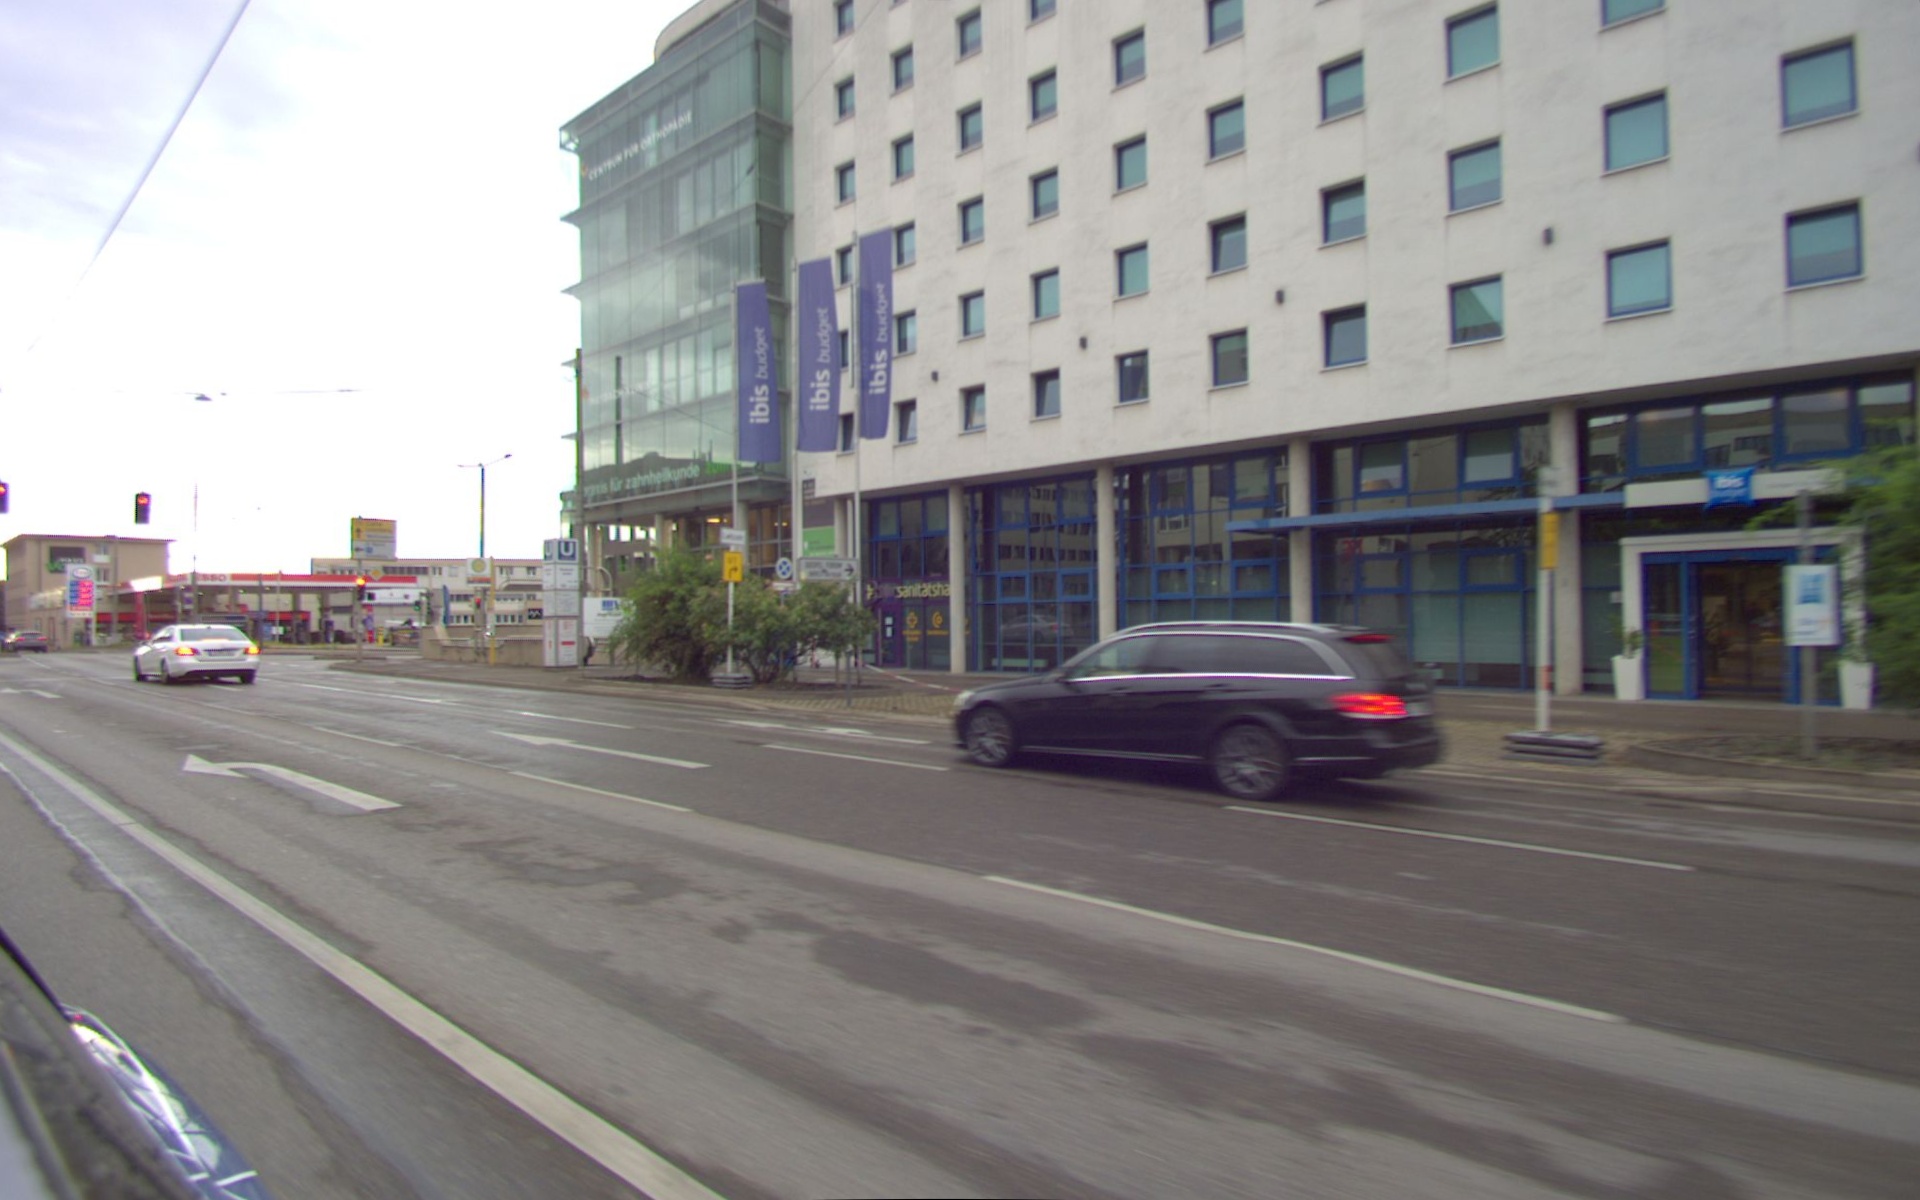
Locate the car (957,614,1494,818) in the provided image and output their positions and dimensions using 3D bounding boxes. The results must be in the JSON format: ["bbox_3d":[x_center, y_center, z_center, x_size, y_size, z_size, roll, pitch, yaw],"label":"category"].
[{"bbox_3d":[2.269,0.914,9.623,4.698,1.488,1.714,-2,-3,42],"label":"car"}]

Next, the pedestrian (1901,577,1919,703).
[{"bbox_3d":[15.892,0.652,16.272,0.797,2.029,0.811,2,-2,13],"label":"pedestrian"}]

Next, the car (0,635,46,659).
[{"bbox_3d":[-68.333,3.375,73.793,4.206,1.644,1.889,-1,-2,39],"label":"car"}]

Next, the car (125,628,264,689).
[{"bbox_3d":[-19.445,1.417,25.628,4.960,1.397,1.798,-2,-2,41],"label":"car"}]
